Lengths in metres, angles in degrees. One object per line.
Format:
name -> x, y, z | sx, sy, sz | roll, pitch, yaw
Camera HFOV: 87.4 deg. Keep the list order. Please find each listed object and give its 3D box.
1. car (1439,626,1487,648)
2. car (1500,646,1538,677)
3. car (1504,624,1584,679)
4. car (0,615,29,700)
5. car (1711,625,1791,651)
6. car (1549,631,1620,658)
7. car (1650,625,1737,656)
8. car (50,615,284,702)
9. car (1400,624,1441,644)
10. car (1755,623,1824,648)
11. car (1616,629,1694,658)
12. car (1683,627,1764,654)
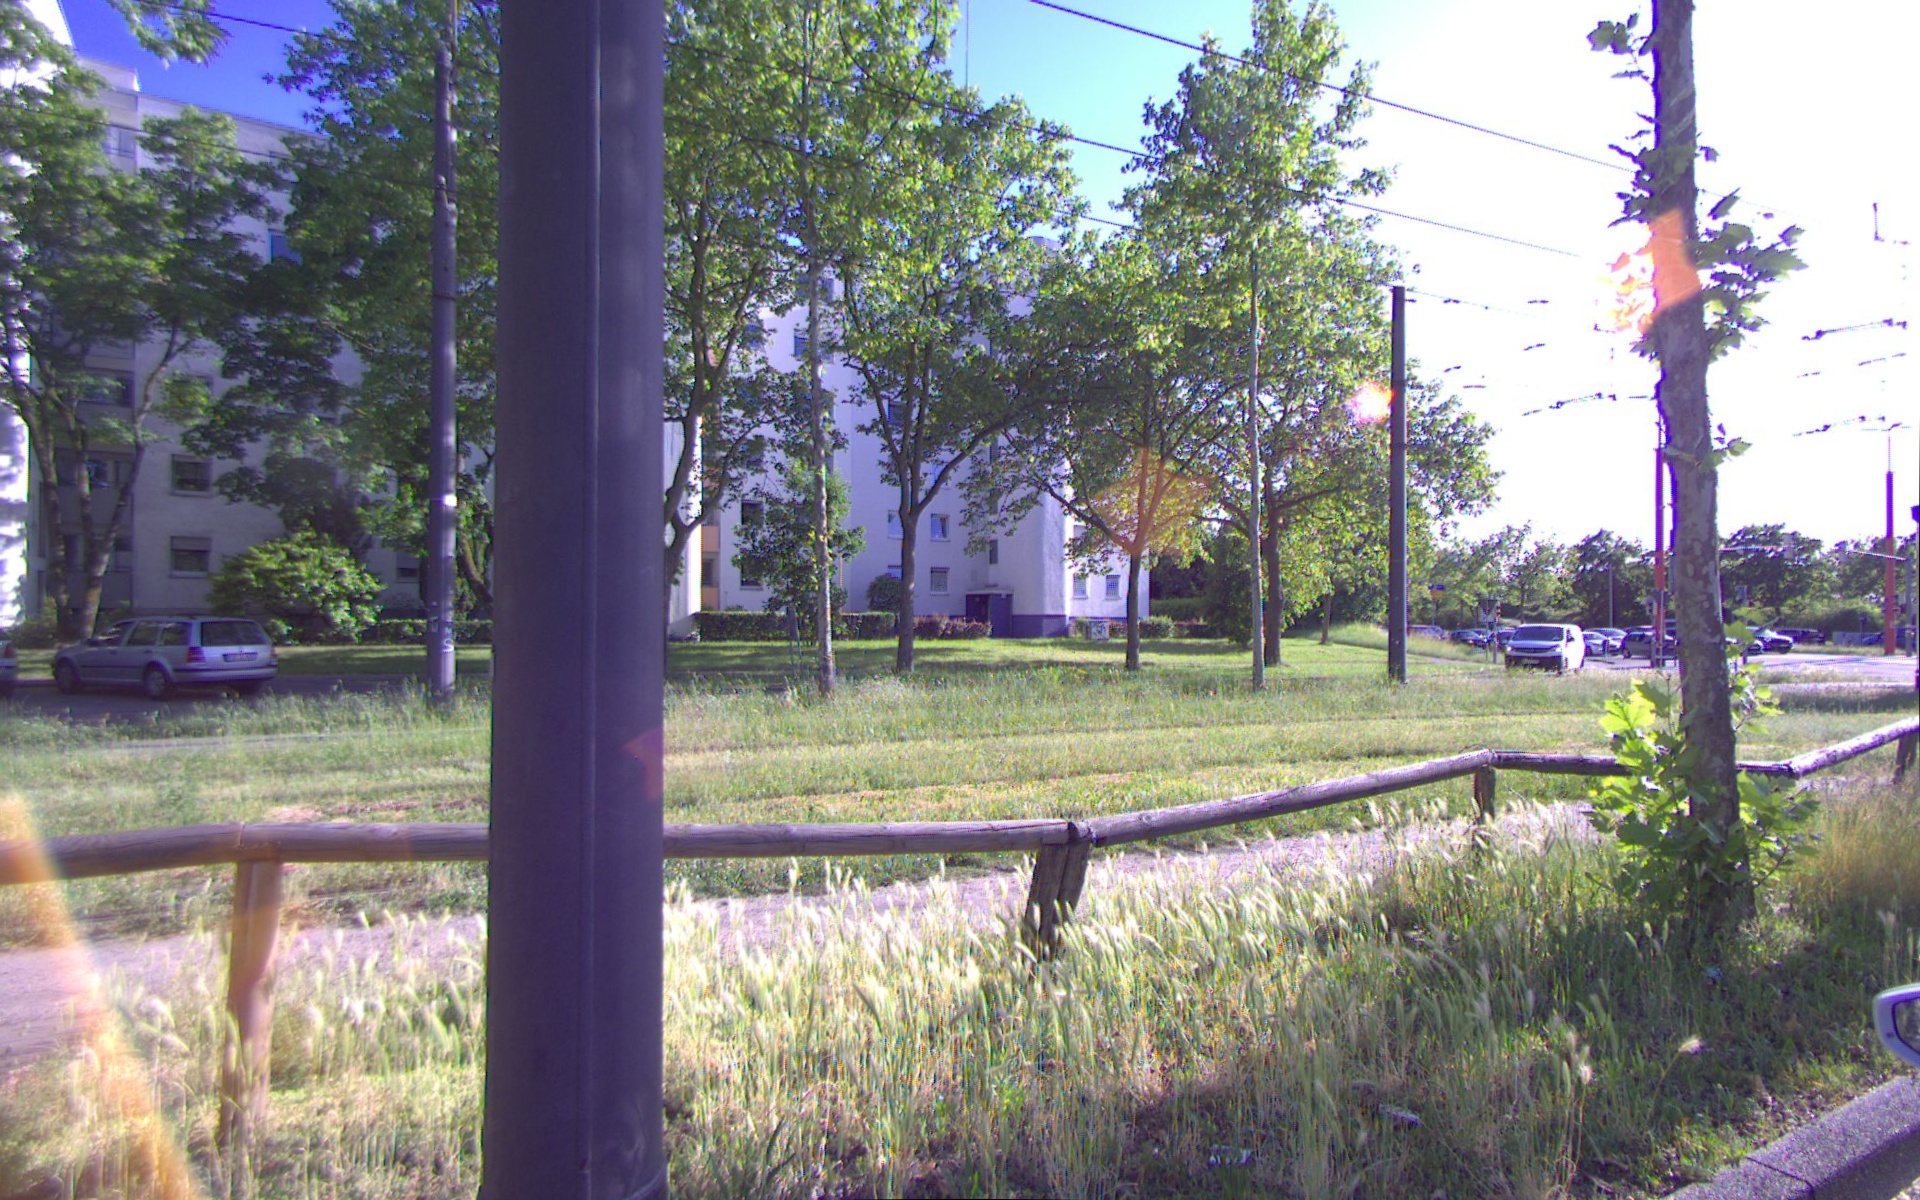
car -> 38.666, 2.819, 77.249 | 1.624, 1.540, 4.200 | 1, -1, 1
car -> 33.016, 3.611, 59.423 | 1.625, 1.640, 4.291 | 1, -1, 25
car -> 21.497, 1.824, 36.902 | 1.805, 1.845, 4.881 | 1, -1, 39
car -> -17.984, 0.947, 17.155 | 3.567, 1.421, 1.581 | 1, 0, 20
car -> 48.657, 2.325, 61.890 | 1.513, 1.434, 4.154 | 1, -1, -3
car -> 38.922, 2.758, 62.731 | 1.624, 1.540, 4.638 | 1, -1, 1
car -> 42.331, 2.310, 58.100 | 1.624, 1.669, 4.644 | 1, -1, 1
car -> -14.534, 1.011, 18.428 | 3.830, 1.421, 1.581 | 1, 0, 20
car -> 38.649, 2.819, 84.388 | 1.624, 1.540, 4.200 | 1, -1, 1
car -> 63.236, 2.684, 76.650 | 1.764, 1.814, 4.130 | 1, -1, -4
car -> 38.969, 2.410, 56.443 | 1.624, 1.460, 3.841 | 1, -1, -2
car -> 45.578, 2.395, 60.057 | 1.513, 1.434, 4.154 | 1, -1, -3
